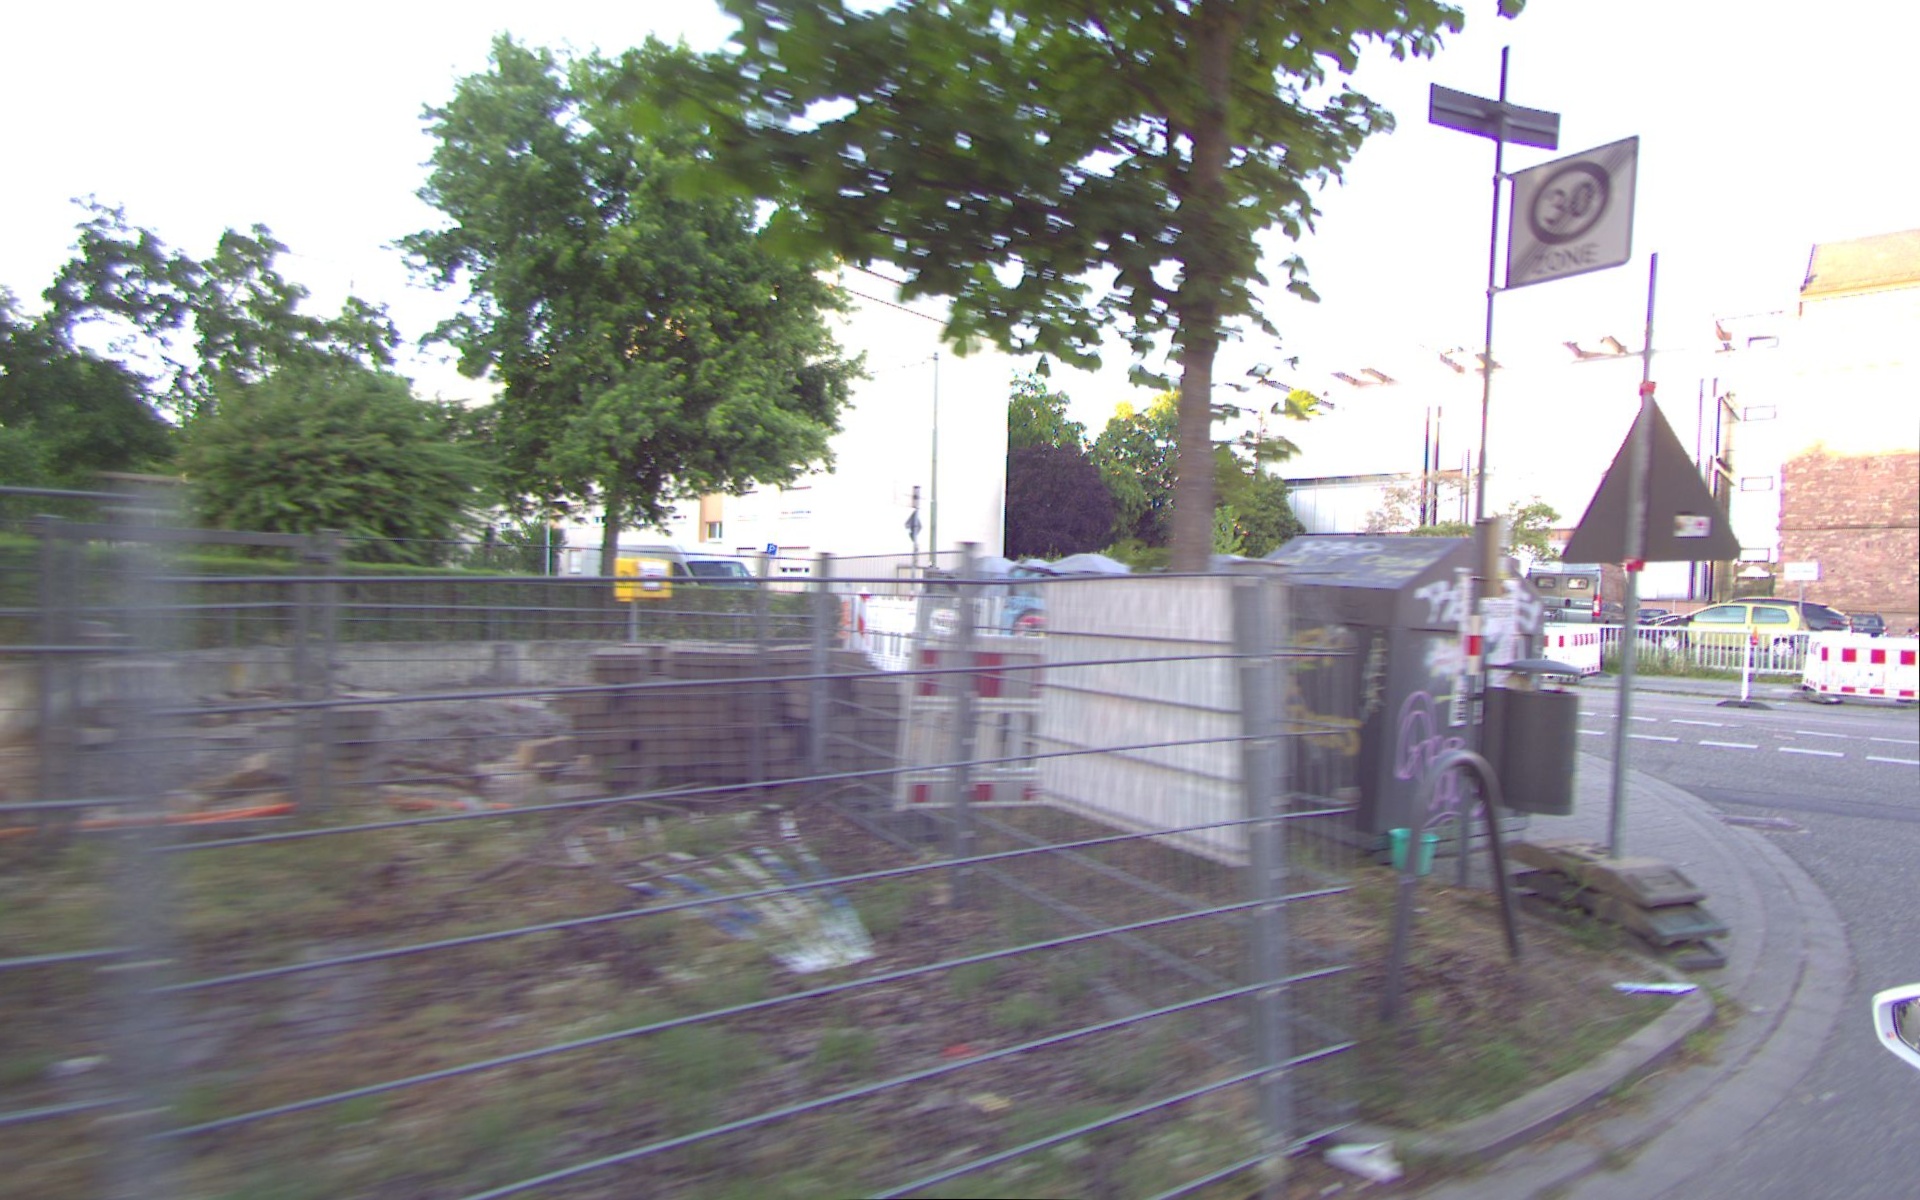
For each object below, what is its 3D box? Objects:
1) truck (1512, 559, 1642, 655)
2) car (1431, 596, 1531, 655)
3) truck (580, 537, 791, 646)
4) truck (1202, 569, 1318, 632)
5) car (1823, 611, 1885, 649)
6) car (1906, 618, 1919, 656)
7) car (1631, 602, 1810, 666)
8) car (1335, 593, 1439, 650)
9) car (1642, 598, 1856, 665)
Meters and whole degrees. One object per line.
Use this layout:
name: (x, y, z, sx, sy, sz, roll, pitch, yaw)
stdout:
truck: (18.704, 0.194, 30.357, 2.309, 2.652, 4.943, 2, 1, 44)
car: (16.834, 0.794, 32.360, 1.971, 1.715, 3.980, 2, 0, 41)
truck: (-7.068, -0.265, 25.421, 5.952, 2.455, 2.099, 2, 1, 39)
truck: (10.929, 0.045, 36.460, 4.481, 2.118, 2.085, 2, 0, -44)
car: (38.977, 1.280, 43.784, 1.876, 1.558, 4.154, 2, 0, 43)
car: (40.834, 1.556, 41.951, 1.876, 1.558, 4.154, 2, 0, 43)
car: (20.122, 0.857, 26.663, 1.627, 1.524, 3.594, 1, 0, -45)
car: (14.342, 0.702, 33.647, 1.971, 1.750, 4.279, 2, 0, 41)
car: (22.028, 0.816, 28.184, 1.565, 1.660, 4.537, 1, 0, -45)
